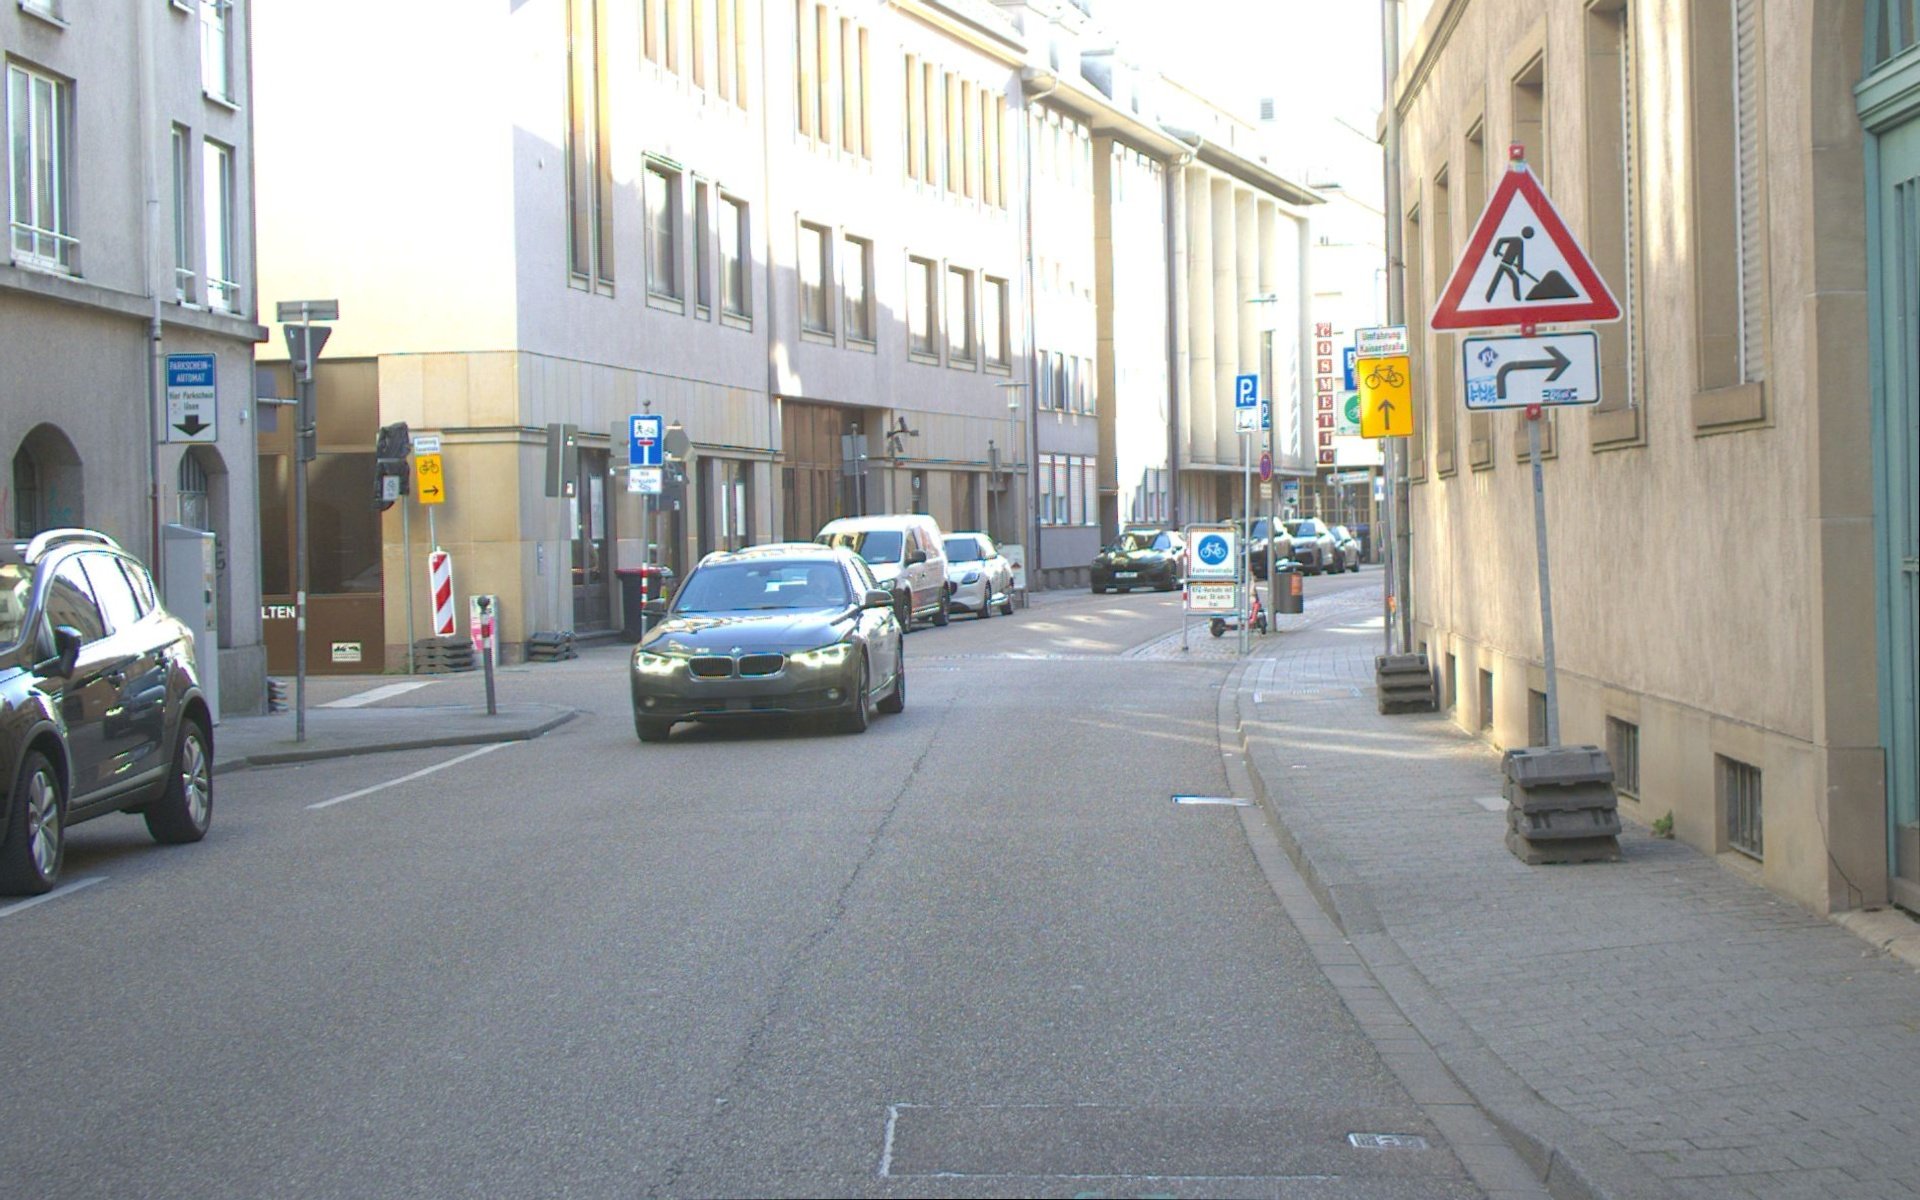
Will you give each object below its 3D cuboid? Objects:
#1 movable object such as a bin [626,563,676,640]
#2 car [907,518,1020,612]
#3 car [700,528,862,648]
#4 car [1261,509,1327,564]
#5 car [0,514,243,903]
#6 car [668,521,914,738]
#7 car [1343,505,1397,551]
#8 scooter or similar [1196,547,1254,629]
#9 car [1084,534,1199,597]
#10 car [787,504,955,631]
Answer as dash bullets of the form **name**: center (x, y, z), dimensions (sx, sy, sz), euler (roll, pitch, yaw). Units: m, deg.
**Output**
- **movable object such as a bin**: center (-4.394, 0.017, 48.873), dimensions (0.608, 1.057, 0.713), euler (1, 1, 1)
- **car**: center (0.083, -0.634, 59.431), dimensions (1.272, 1.501, 3.400), euler (-3, 1, 11)
- **car**: center (-2.432, -0.194, 47.553), dimensions (1.670, 1.501, 3.793), euler (-3, 1, 5)
- **car**: center (9.607, -1.837, 98.687), dimensions (1.339, 1.489, 3.508), euler (-1, 1, 14)
- **car**: center (-5.027, 0.480, 17.117), dimensions (1.740, 1.705, 4.190), euler (-4, 1, 3)
- **car**: center (-1.432, 0.184, 27.688), dimensions (1.714, 1.572, 4.191), euler (-1, 1, -6)
- **car**: center (13.817, -2.443, 115.755), dimensions (1.339, 1.489, 3.345), euler (-1, 1, 14)
- **scooter or similar**: center (3.737, -0.167, 48.439), dimensions (0.771, 1.132, 0.269), euler (1, 1, 7)
- **car**: center (4.230, -0.815, 79.539), dimensions (1.882, 1.327, 4.098), euler (-1, 1, 14)
- **car**: center (-1.327, -0.543, 53.341), dimensions (1.671, 1.812, 4.550), euler (-3, 1, 10)
